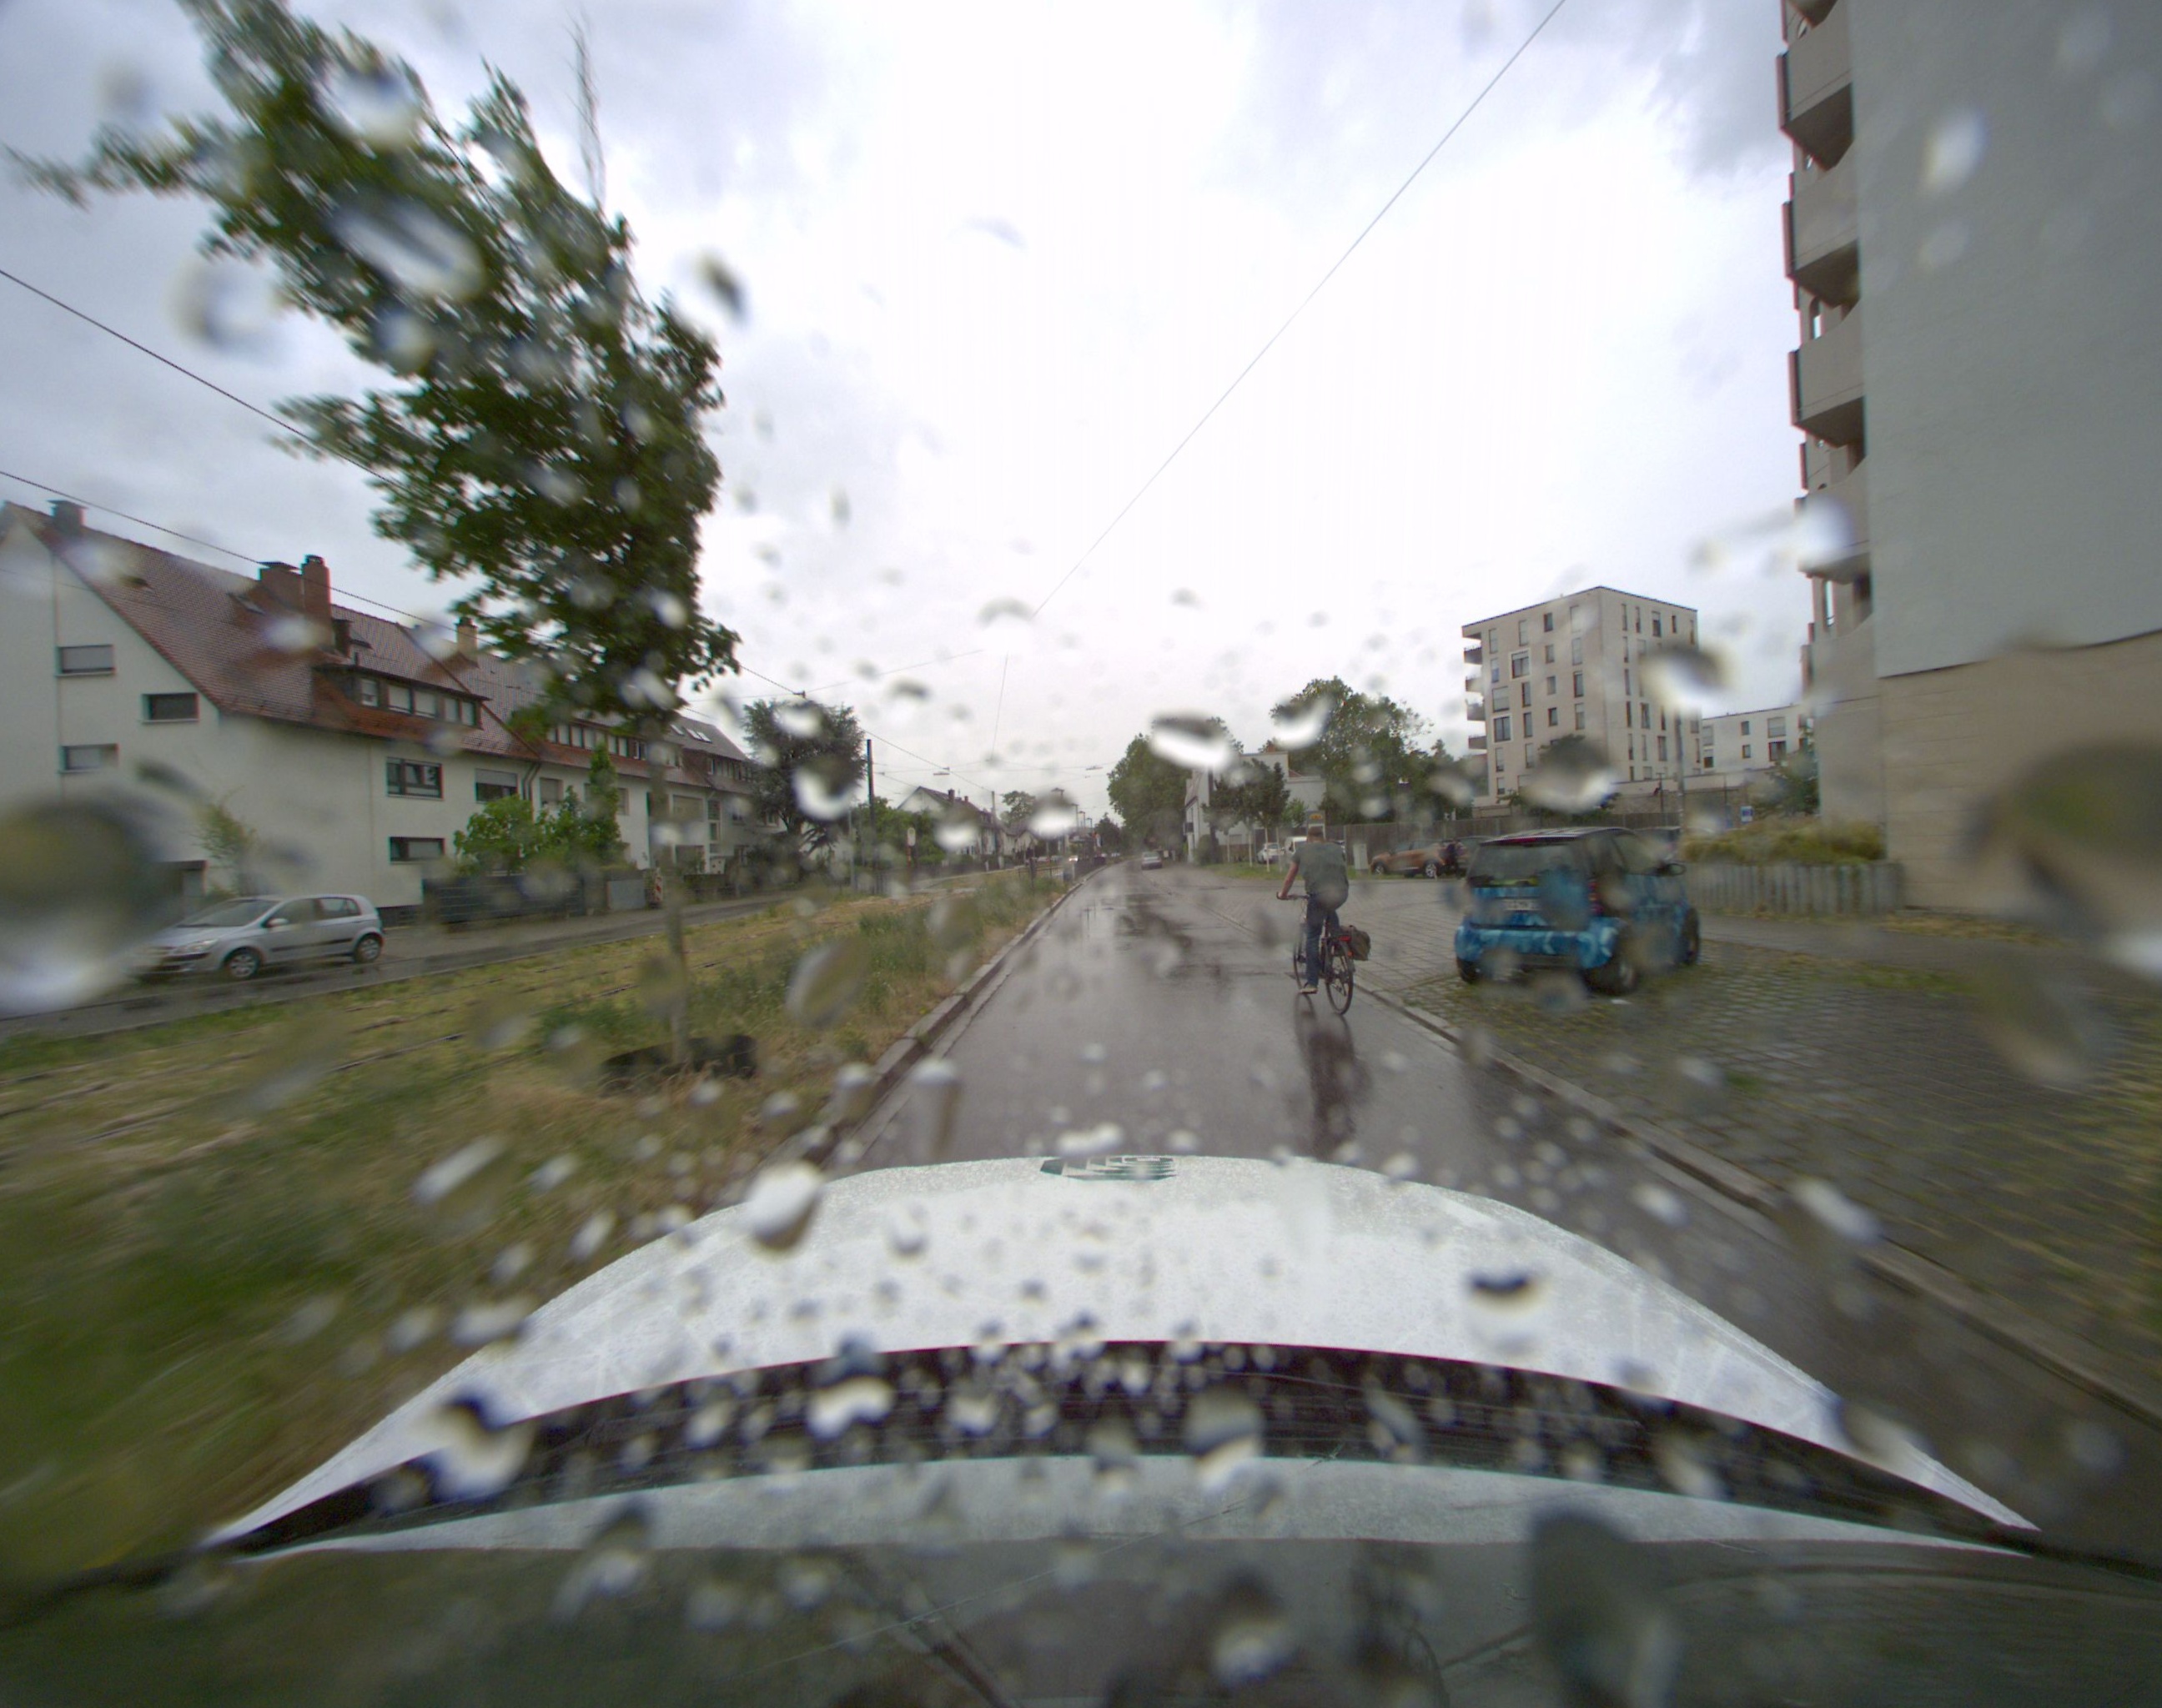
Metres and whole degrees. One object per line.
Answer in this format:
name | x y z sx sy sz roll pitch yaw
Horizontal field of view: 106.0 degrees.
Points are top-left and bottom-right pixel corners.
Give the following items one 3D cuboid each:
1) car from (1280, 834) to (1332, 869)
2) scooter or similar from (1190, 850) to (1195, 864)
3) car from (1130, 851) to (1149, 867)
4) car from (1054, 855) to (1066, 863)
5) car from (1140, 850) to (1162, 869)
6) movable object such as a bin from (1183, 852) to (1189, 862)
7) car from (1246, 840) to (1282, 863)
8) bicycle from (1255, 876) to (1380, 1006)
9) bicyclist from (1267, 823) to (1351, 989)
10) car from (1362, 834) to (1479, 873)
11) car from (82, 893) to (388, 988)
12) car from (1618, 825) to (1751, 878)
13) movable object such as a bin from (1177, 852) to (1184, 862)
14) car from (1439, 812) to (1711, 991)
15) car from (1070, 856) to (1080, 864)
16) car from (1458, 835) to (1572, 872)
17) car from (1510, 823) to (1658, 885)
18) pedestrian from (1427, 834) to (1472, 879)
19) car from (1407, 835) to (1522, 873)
car | 12.625 -0.168 46.016 1.954 1.784 4.904 -2 1 5
scooter or similar | 9.325 0.251 68.044 0.331 1.085 1.399 -2 -1 9
car | 6.153 0.510 85.409 1.799 1.467 3.798 -6 -1 4
car | -4.132 0.933 161.037 1.918 1.486 4.008 -2 -1 7
car | 5.949 0.515 69.398 1.643 1.405 4.654 -6 -1 4
movable object such as a bin | 12.068 0.337 93.873 0.534 1.022 0.739 -5 -1 3
car | 13.103 -0.219 58.472 1.954 1.535 4.370 -2 1 5
bicycle | 2.275 0.783 8.074 0.535 1.093 1.946 -2 -1 -4
bicyclist | 2.262 0.498 8.141 0.533 1.559 0.771 -2 -1 -5
car | 13.481 0.019 32.595 2.004 1.441 3.966 -1 -1 -26
car | -15.791 1.544 15.536 1.987 1.414 3.657 -2 -1 0
car | 19.022 -0.105 25.643 4.124 1.533 1.798 -1 0 -29
movable object such as a bin | 11.549 0.358 94.627 0.689 1.022 0.825 -5 -1 3
car | 5.197 0.398 8.518 2.578 1.548 1.584 -3 -1 -39
car | -1.304 1.274 167.226 1.626 1.493 4.005 -2 -1 5
car | 18.738 0.008 35.338 2.004 1.441 3.966 -1 -1 -26
car | 14.374 -0.040 23.238 4.124 1.616 1.798 -1 0 -29
pedestrian | 12.804 0.090 28.290 0.840 1.517 1.085 -1 -1 -27
car | 15.944 0.044 34.067 2.004 1.441 3.966 -1 -1 -26
